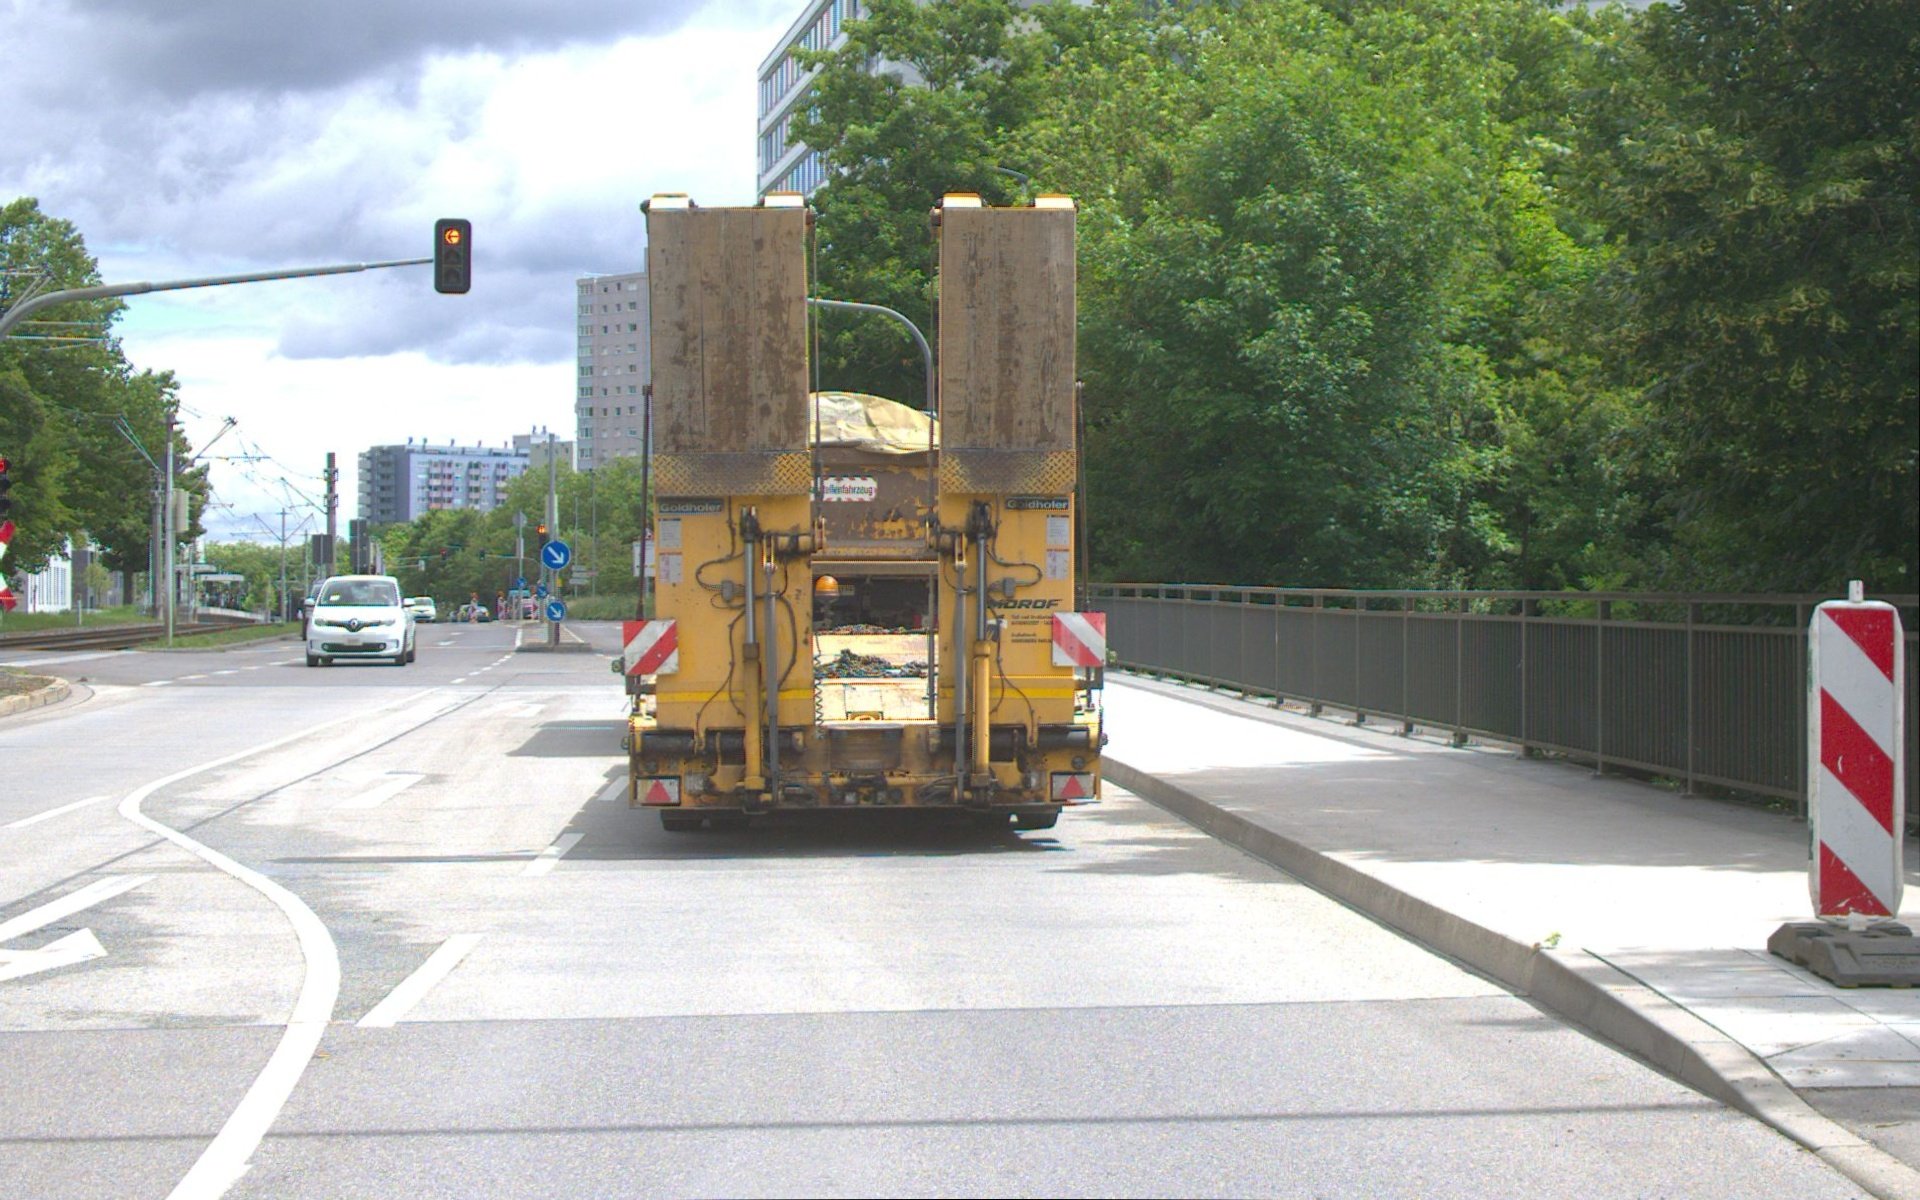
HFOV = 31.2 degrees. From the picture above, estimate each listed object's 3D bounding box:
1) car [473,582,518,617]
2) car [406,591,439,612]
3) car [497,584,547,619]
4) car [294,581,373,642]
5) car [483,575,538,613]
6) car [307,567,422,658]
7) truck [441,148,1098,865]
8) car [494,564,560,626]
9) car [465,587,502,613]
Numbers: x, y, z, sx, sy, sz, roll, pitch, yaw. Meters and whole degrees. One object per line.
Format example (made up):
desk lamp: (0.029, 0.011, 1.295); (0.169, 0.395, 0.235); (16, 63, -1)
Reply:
car: (-23.004, -0.046, 170.344); (1.993, 1.612, 4.001); (2, 0, -6)
car: (-32.822, 0.095, 209.991); (1.783, 1.267, 4.346); (0, 0, -7)
car: (-18.590, 0.058, 146.001); (1.993, 1.415, 4.001); (2, 0, -6)
car: (-16.425, 0.289, 90.267); (1.783, 1.564, 4.346); (0, 0, -7)
car: (-17.775, -0.251, 136.033); (1.993, 1.415, 4.001); (2, 0, -6)
car: (-10.208, 0.205, 59.094); (1.593, 1.521, 3.655); (0, 0, -4)
truck: (-1.065, -0.499, 24.187); (3.316, 3.638, 12.562); (2, 0, -1)
car: (-14.226, -0.182, 113.158); (1.993, 1.919, 4.001); (2, 0, -6)
car: (-24.155, -0.005, 174.498); (1.783, 1.267, 4.346); (0, 0, -7)
